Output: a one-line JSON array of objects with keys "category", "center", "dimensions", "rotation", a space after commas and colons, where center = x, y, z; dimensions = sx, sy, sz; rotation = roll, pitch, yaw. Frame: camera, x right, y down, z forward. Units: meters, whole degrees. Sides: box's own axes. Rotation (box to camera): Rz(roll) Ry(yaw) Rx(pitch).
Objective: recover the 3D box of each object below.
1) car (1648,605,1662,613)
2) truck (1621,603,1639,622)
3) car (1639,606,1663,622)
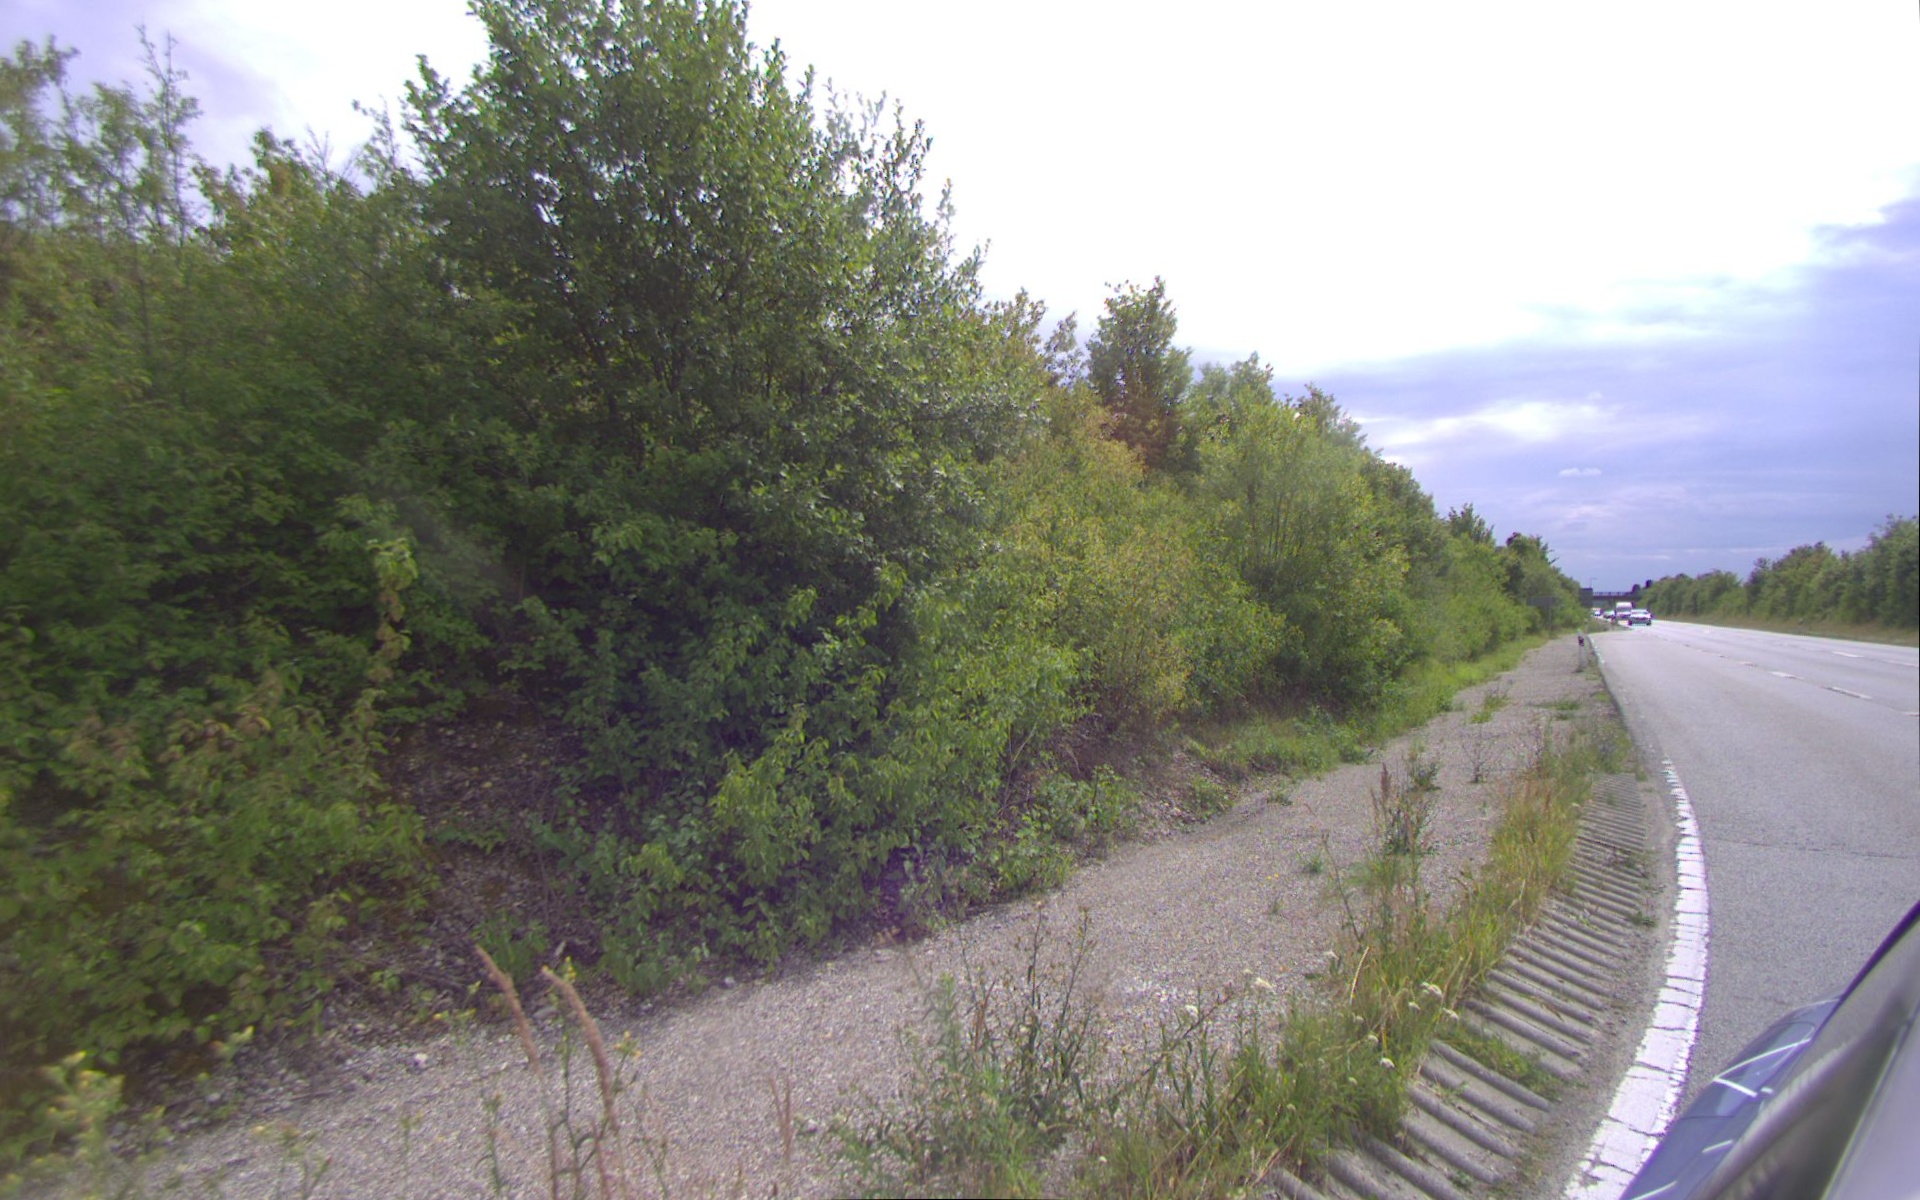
[{"category": "car", "center": [115.586, 1.442, 168.225], "dimensions": [1.693, 1.347, 3.955], "rotation": [0, 0, 31]}, {"category": "truck", "center": [91.514, 1.709, 138.284], "dimensions": [1.789, 2.566, 6.609], "rotation": [-2, -1, 32]}, {"category": "car", "center": [70.832, 1.399, 103.776], "dimensions": [1.857, 1.627, 3.955], "rotation": [-1, -1, 32]}]
